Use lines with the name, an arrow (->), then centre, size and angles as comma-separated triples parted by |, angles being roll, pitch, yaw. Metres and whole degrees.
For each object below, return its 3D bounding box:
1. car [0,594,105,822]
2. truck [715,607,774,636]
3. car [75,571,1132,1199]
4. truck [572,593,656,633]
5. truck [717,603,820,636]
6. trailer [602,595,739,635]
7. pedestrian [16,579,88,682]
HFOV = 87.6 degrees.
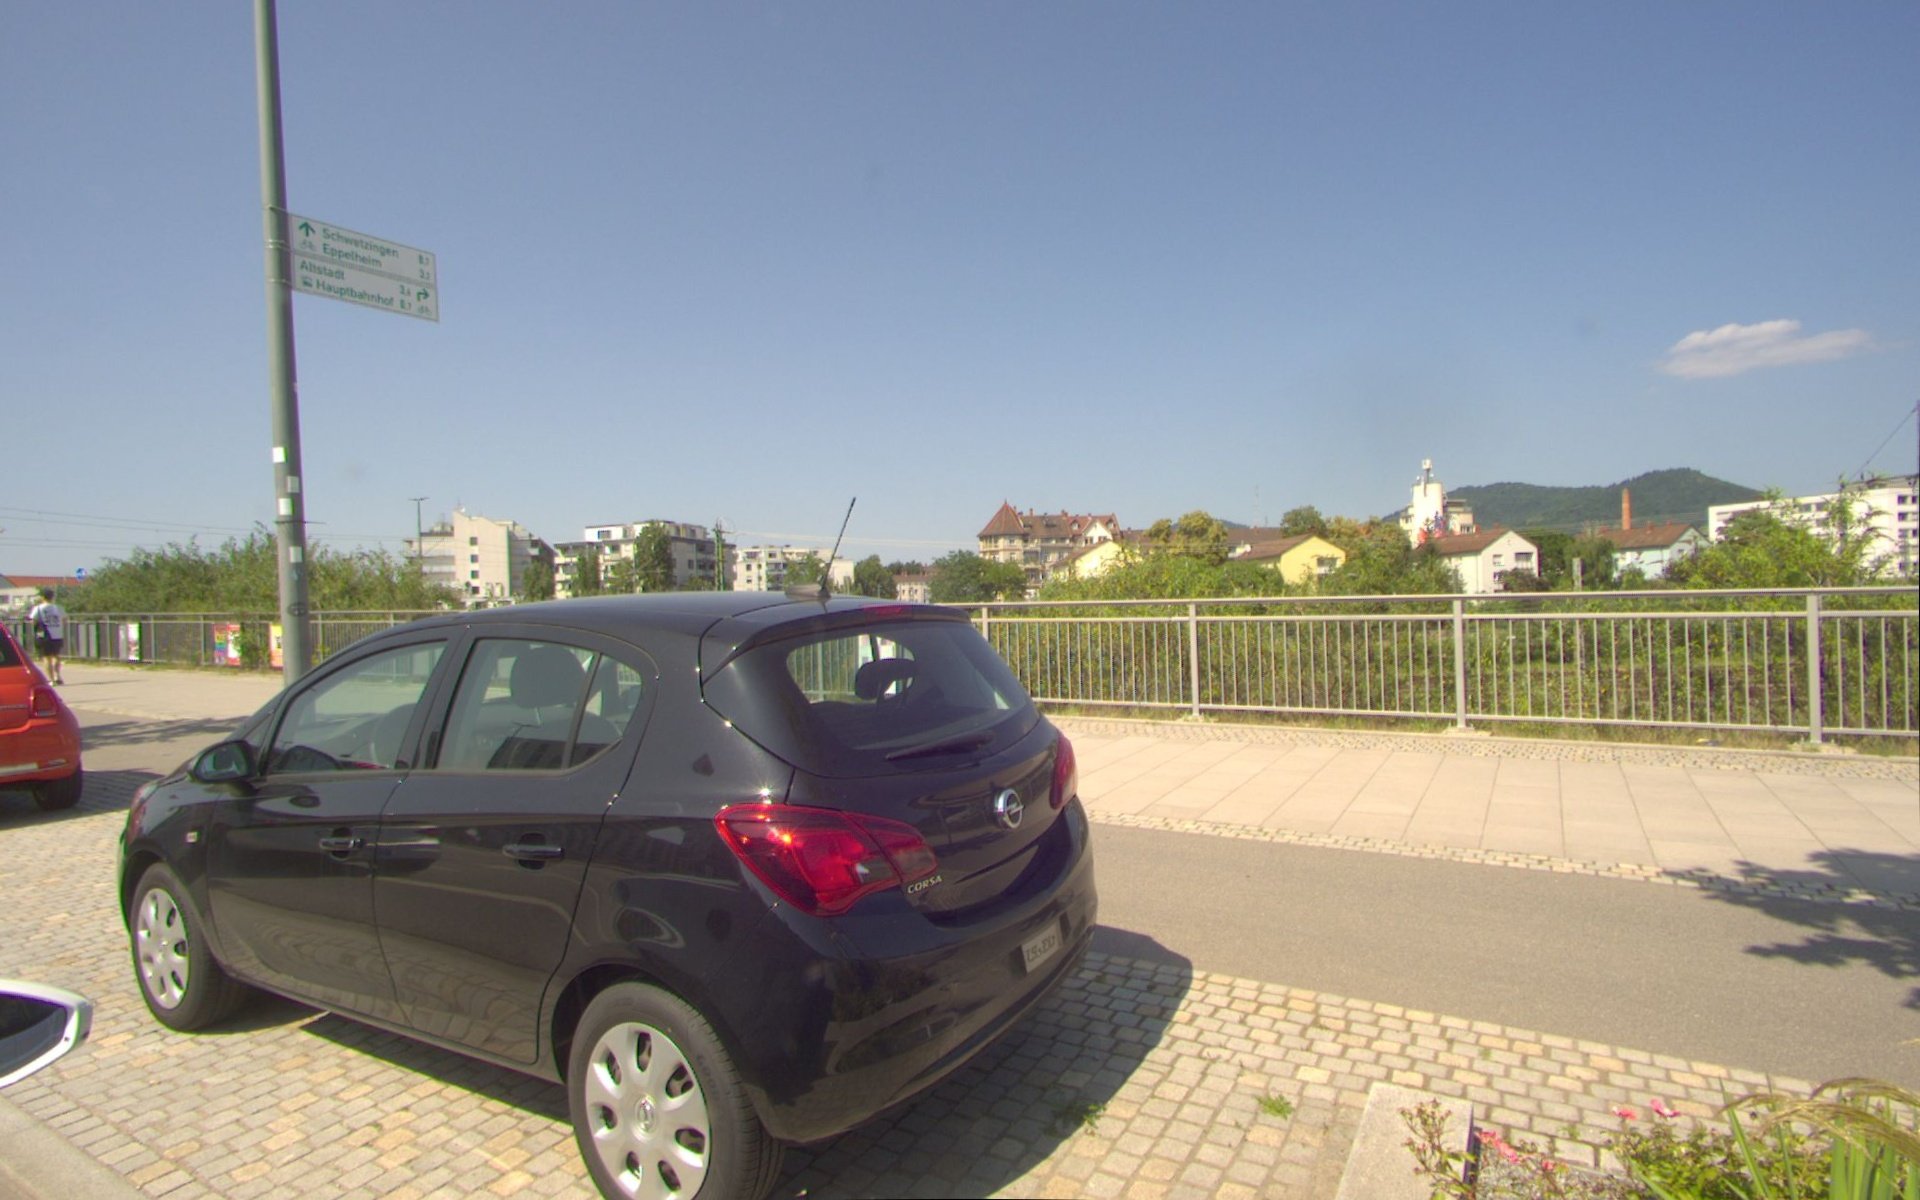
car -> -8.349, 0.774, 7.796 | 3.865, 1.561, 1.664 | -1, 1, 36
truck -> -25.401, 2.576, 118.563 | 2.459, 3.197, 9.899 | -1, -2, 16
car -> -1.349, 0.743, 3.473 | 3.495, 1.577, 1.577 | -1, 2, 32
truck -> -29.494, 1.186, 85.638 | 3.672, 3.244, 6.485 | -1, -2, 17
truck -> -21.319, 2.362, 113.650 | 3.674, 3.243, 17.876 | -1, -3, 17
trailer -> -26.811, 1.556, 94.553 | 3.674, 3.243, 17.244 | -1, -3, 17
pedestrian -> -16.856, 0.570, 18.594 | 0.872, 1.853, 0.757 | -1, -2, 32
